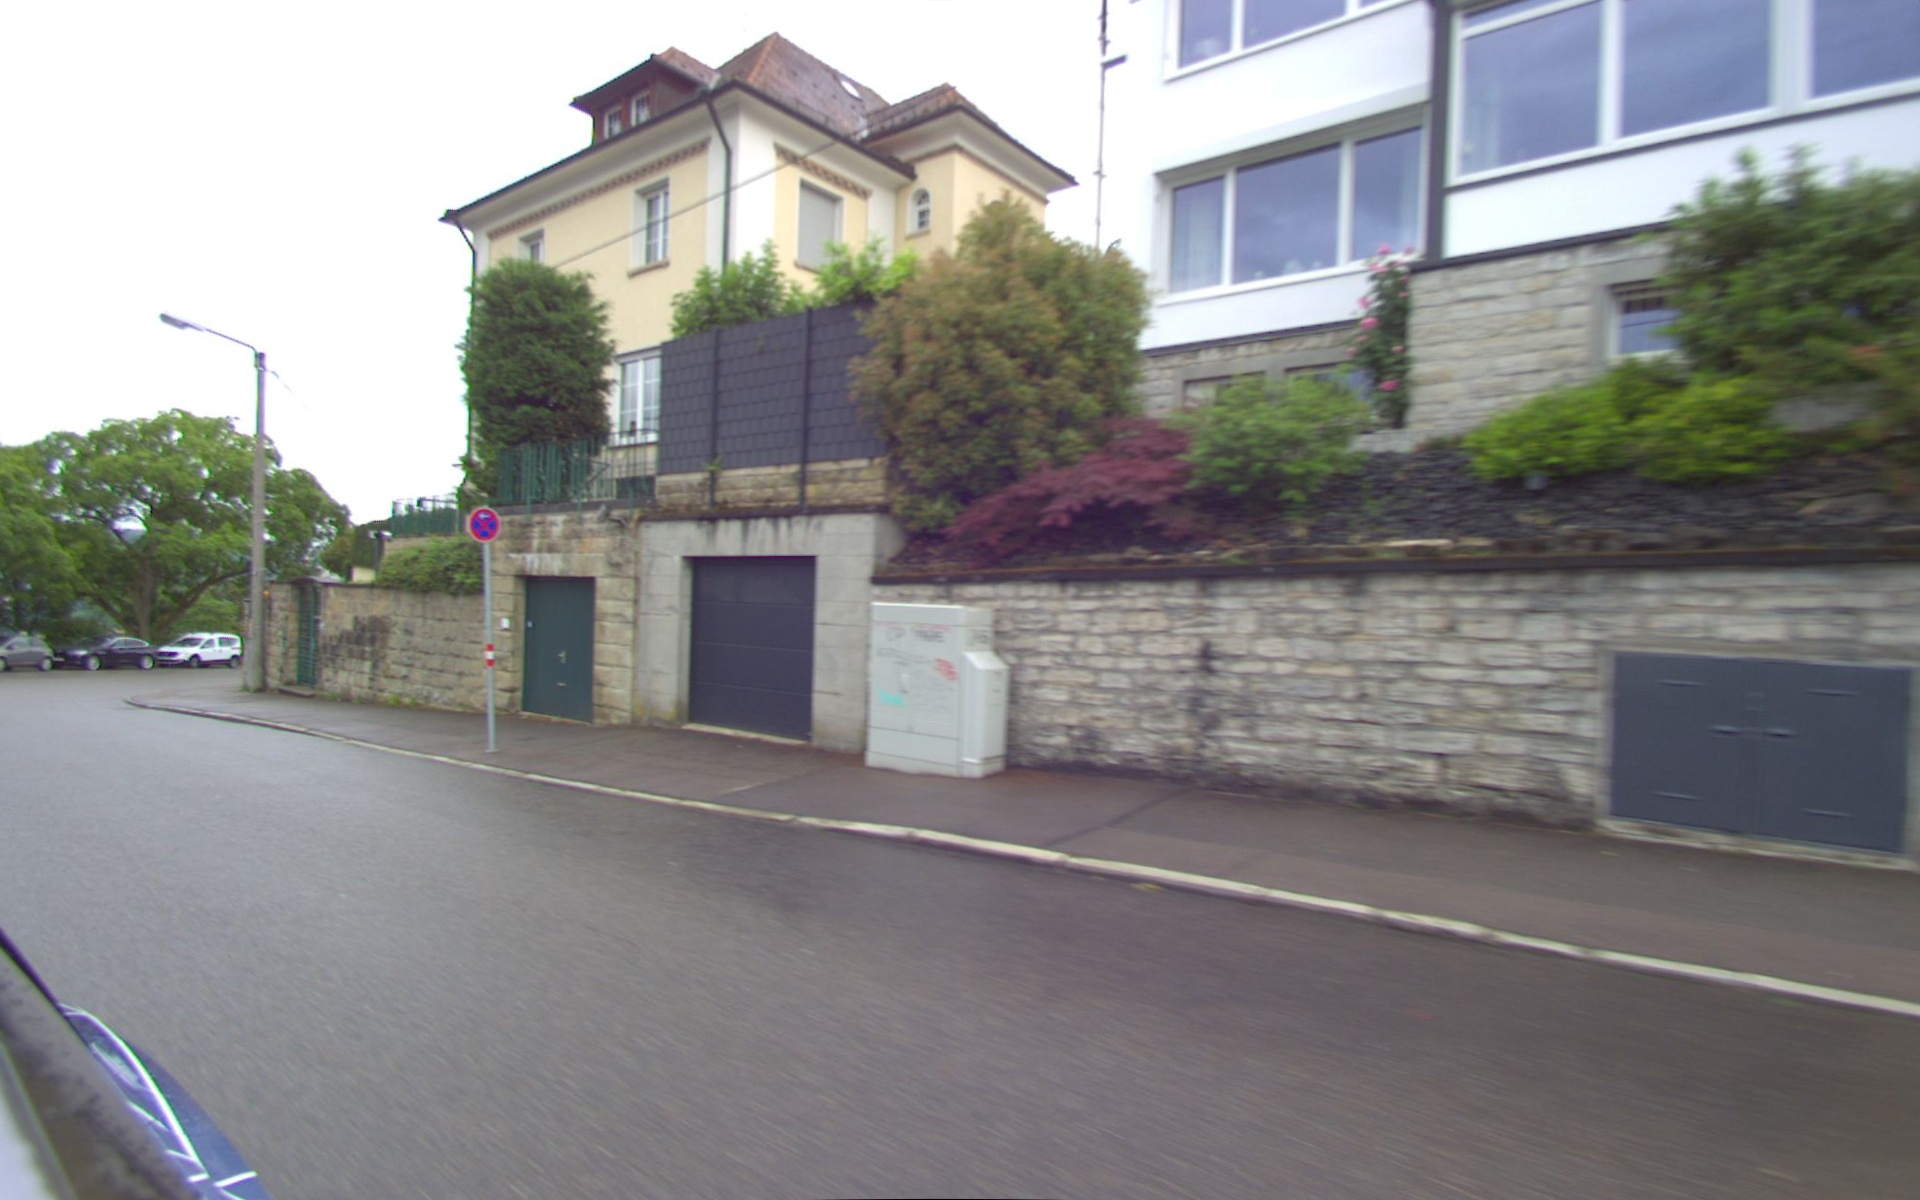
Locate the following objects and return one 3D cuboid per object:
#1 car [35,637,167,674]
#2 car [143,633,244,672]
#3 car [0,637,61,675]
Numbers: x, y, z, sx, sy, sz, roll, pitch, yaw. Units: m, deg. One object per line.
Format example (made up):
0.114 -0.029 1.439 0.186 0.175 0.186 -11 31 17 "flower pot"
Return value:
-39.405 2.609 46.620 1.840 1.554 4.894 2 -4 -1 "car"
-39.392 2.730 52.171 1.728 1.835 4.422 3 -4 0 "car"
-38.963 2.242 40.973 1.712 1.515 4.142 3 -4 -7 "car"
